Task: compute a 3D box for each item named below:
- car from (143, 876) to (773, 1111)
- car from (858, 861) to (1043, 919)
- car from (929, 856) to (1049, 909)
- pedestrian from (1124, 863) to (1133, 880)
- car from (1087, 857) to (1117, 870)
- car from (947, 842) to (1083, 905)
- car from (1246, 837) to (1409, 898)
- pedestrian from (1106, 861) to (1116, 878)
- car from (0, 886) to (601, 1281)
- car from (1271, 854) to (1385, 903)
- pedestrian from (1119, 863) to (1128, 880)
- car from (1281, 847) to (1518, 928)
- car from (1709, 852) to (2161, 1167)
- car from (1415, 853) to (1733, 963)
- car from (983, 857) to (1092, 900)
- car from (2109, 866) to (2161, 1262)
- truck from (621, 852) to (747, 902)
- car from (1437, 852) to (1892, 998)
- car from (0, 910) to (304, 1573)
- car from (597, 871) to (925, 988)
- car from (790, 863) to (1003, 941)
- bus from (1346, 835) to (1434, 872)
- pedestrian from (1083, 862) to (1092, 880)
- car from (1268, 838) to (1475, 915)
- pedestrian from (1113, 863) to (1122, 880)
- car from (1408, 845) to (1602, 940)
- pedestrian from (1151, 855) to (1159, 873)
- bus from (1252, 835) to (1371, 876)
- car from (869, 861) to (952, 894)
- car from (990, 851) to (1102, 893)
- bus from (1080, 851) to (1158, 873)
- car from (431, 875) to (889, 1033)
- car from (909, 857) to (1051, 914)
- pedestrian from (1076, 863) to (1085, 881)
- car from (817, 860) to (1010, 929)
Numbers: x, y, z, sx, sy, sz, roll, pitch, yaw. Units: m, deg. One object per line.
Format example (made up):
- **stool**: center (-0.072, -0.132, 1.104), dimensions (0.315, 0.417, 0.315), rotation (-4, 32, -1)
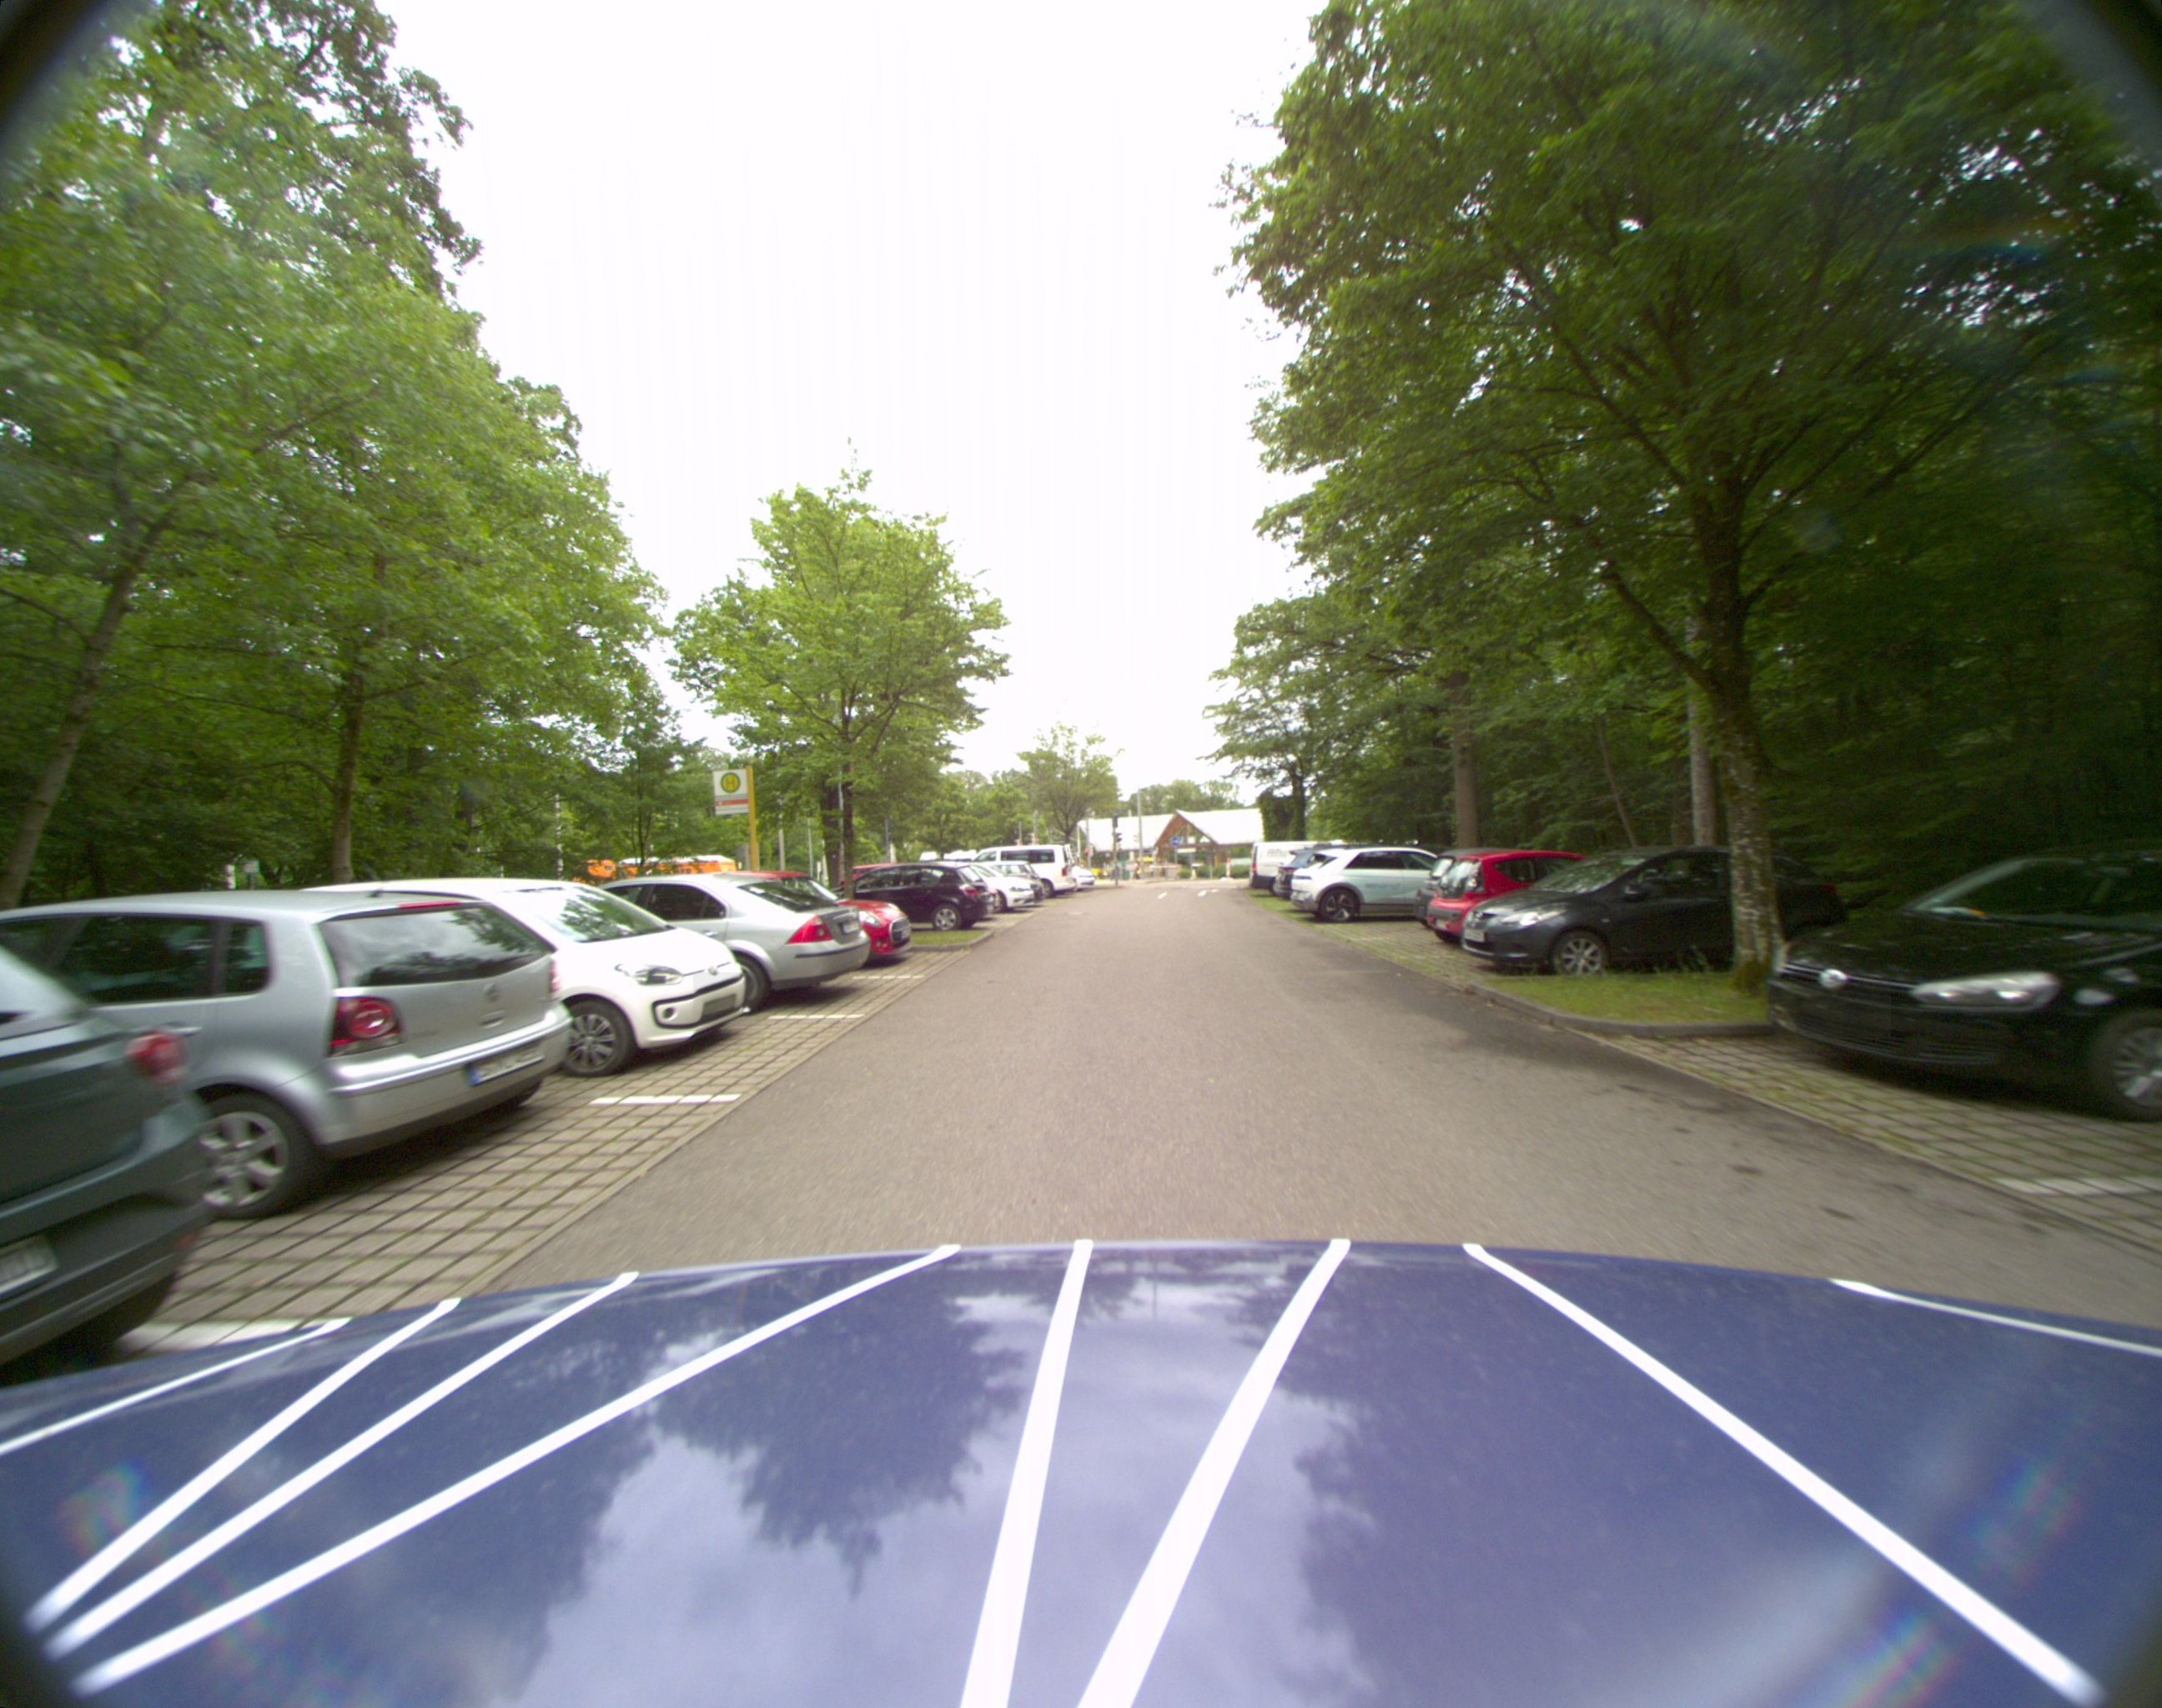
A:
- **car**: center (-4.774, 1.024, 6.249), dimensions (3.710, 1.502, 1.751), rotation (-2, 1, 2)
- **car**: center (-3.648, 1.002, 21.592), dimensions (4.780, 1.467, 1.854), rotation (-2, 0, 9)
- **car**: center (-3.133, 1.000, 26.332), dimensions (3.730, 1.545, 1.848), rotation (-4, -2, 7)
- **pedestrian**: center (4.955, 1.822, 80.037), dimensions (0.600, 1.746, 0.667), rotation (-2, -2, -26)
- **car**: center (3.632, 1.614, 130.710), dimensions (1.995, 2.001, 5.447), rotation (-5, -3, 41)
- **car**: center (-2.463, 0.759, 28.950), dimensions (4.657, 2.008, 2.085), rotation (-4, -2, 9)
- **car**: center (8.350, 0.464, 26.164), dimensions (5.094, 1.904, 1.980), rotation (-1, 0, 10)
- **pedestrian**: center (3.225, 1.664, 80.518), dimensions (0.732, 1.746, 0.738), rotation (-4, -2, 23)
- **car**: center (-5.058, 1.036, 4.037), dimensions (3.852, 1.537, 1.730), rotation (-2, 0, 0)
- **car**: center (7.654, 0.762, 23.763), dimensions (3.230, 1.457, 1.657), rotation (0, -1, 12)
- **pedestrian**: center (4.430, 1.817, 79.718), dimensions (0.600, 1.746, 0.667), rotation (-2, -2, -26)
- **car**: center (6.767, 0.686, 16.611), dimensions (4.364, 1.588, 2.032), rotation (-1, 1, 6)
- **car**: center (6.658, 0.761, 4.599), dimensions (4.243, 1.465, 1.720), rotation (-2, 1, 1)
- **car**: center (7.174, 0.762, 11.384), dimensions (3.614, 1.465, 1.675), rotation (-1, 0, 5)
- **car**: center (-1.785, 0.990, 31.485), dimensions (4.002, 1.546, 1.949), rotation (-3, -1, 16)
- **car**: center (6.233, 0.761, 1.988), dimensions (4.243, 1.521, 2.006), rotation (-2, 0, 2)
- **truck**: center (-30.721, 1.774, 58.987), dimensions (8.239, 3.493, 2.869), rotation (-2, -1, 4)
- **car**: center (6.584, 0.762, 8.919), dimensions (3.997, 1.482, 1.708), rotation (-1, 0, 1)
- **car**: center (-4.567, 1.036, 1.626), dimensions (3.777, 1.580, 1.950), rotation (-2, 0, 1)
- **car**: center (-4.558, 1.053, 11.301), dimensions (3.996, 1.441, 1.941), rotation (-2, 0, 2)
- **car**: center (-3.853, 0.994, 16.320), dimensions (3.995, 1.474, 1.923), rotation (-2, 0, 6)
- **bus**: center (28.249, -0.072, 69.381), dimensions (7.766, 3.139, 2.807), rotation (-1, -2, -25)
- **pedestrian**: center (0.670, 1.714, 75.099), dimensions (0.736, 1.746, 0.668), rotation (-3, -2, -3)
- **car**: center (7.113, 0.545, 19.107), dimensions (4.433, 1.684, 2.172), rotation (-2, 0, 8)
- **pedestrian**: center (3.865, 1.837, 80.052), dimensions (0.670, 1.746, 0.561), rotation (-2, -2, -39)
- **car**: center (7.603, 0.670, 13.784), dimensions (2.666, 1.532, 1.446), rotation (-2, 0, 2)
- **pedestrian**: center (7.562, 1.042, 77.854), dimensions (0.656, 1.746, 0.668), rotation (-3, -2, -2)
- **bus**: center (19.958, 0.105, 65.495), dimensions (10.531, 3.139, 2.807), rotation (-1, -2, -25)
- **car**: center (-10.129, 1.423, 45.533), dimensions (4.578, 1.739, 2.000), rotation (-3, -2, -7)
- **car**: center (-1.523, 0.797, 33.990), dimensions (4.526, 1.683, 2.167), rotation (-2, 1, 15)
- **bus**: center (7.080, 1.390, 136.593), dimensions (3.969, 3.461, 18.617), rotation (-5, -3, 37)
- **car**: center (-4.533, 1.052, 8.624), dimensions (4.136, 1.453, 1.865), rotation (-2, 1, 3)
- **car**: center (-3.110, 0.964, 23.903), dimensions (3.995, 1.475, 1.878), rotation (-4, 1, 7)
- **pedestrian**: center (-0.054, 1.750, 74.854), dimensions (0.736, 1.746, 0.668), rotation (-3, -2, -2)
- **car**: center (-4.079, 0.982, 18.922), dimensions (4.237, 1.472, 1.920), rotation (-2, 1, 6)
